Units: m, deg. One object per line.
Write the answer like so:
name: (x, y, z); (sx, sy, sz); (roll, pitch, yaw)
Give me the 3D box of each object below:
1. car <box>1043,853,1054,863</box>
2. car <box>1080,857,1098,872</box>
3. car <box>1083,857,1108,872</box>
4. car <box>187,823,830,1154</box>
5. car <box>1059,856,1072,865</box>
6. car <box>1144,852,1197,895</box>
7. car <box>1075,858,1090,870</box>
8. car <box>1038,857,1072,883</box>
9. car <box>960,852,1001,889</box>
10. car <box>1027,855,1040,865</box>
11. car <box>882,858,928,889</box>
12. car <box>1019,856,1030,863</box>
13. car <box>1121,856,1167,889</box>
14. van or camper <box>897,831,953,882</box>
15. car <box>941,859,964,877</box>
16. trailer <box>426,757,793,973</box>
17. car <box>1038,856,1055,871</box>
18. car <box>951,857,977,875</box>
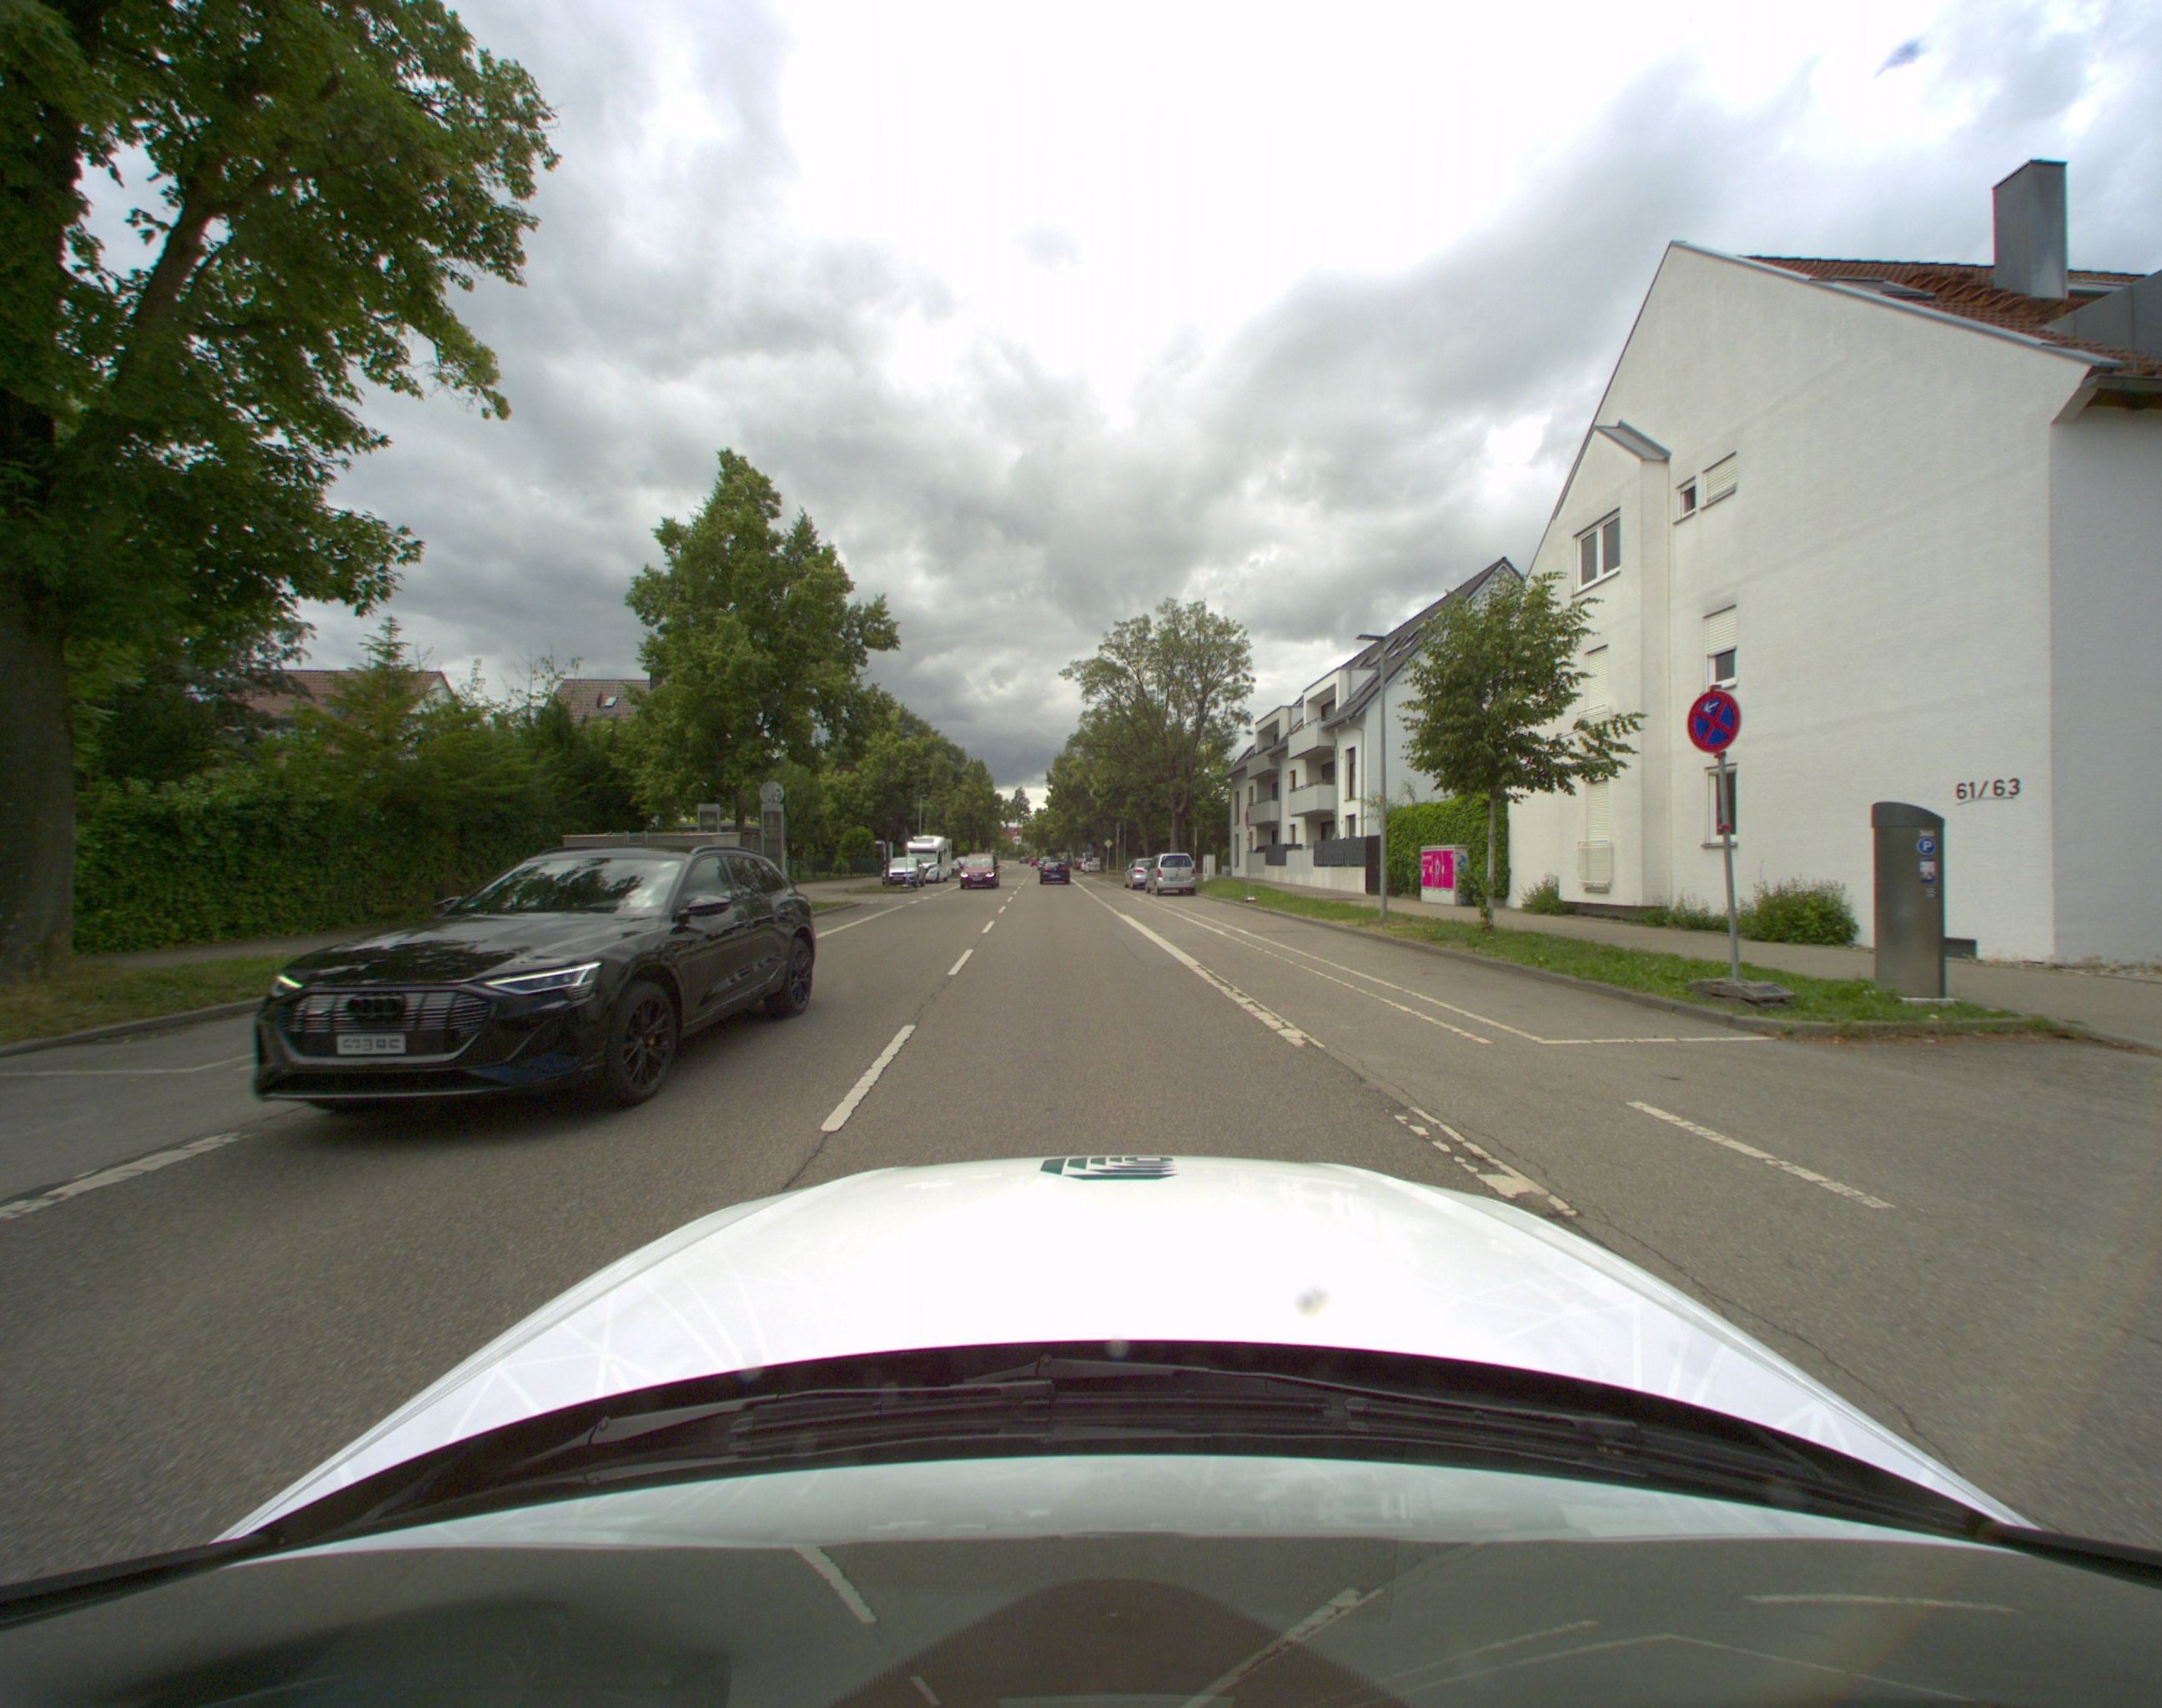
car: (-6.309, 0.775, 159.293); (1.787, 1.772, 3.971); (0, -1, -8)
car: (0.809, 1.102, 85.322); (1.612, 1.460, 3.653); (-1, 0, -3)
car: (1.349, 0.975, 76.905); (2.016, 1.443, 5.020); (0, 0, -2)
car: (-3.705, 0.710, 6.579); (1.988, 1.668, 4.586); (-2, 0, -1)
car: (-2.509, 1.110, 132.056); (1.682, 1.432, 4.033); (0, 0, -8)
car: (3.615, 0.768, 33.516); (1.629, 1.665, 3.644); (0, 0, -3)
car: (0.184, 1.187, 97.187); (1.633, 1.420, 3.997); (-1, 0, -1)
car: (-1.557, 0.919, 47.641); (1.780, 1.449, 3.551); (0, -1, -5)
car: (-5.177, 0.823, 42.450); (1.756, 1.803, 4.763); (0, 0, -3)
car: (-7.817, 1.010, 132.822); (1.990, 1.530, 3.993); (0, 0, -5)
car: (-9.392, 0.994, 43.698); (1.718, 1.600, 4.268); (0, 0, -2)
car: (-11.627, 1.117, 166.430); (1.992, 1.508, 3.989); (1, -1, -8)
car: (2.969, 0.851, 39.244); (1.684, 1.493, 4.222); (-1, 0, -3)
van or camper: (-9.892, 0.160, 52.351); (2.429, 3.009, 7.685); (0, 0, -3)
car: (-10.761, 1.149, 68.313); (1.553, 1.470, 4.444); (0, 0, -4)
trailer: (-7.753, 0.215, 14.891); (2.668, 2.941, 7.465); (0, -1, -4)
car: (-4.087, 1.162, 96.503); (1.989, 1.558, 3.994); (0, -3, -3)
car: (-11.180, 1.091, 77.985); (1.812, 1.652, 4.696); (0, 0, -1)
